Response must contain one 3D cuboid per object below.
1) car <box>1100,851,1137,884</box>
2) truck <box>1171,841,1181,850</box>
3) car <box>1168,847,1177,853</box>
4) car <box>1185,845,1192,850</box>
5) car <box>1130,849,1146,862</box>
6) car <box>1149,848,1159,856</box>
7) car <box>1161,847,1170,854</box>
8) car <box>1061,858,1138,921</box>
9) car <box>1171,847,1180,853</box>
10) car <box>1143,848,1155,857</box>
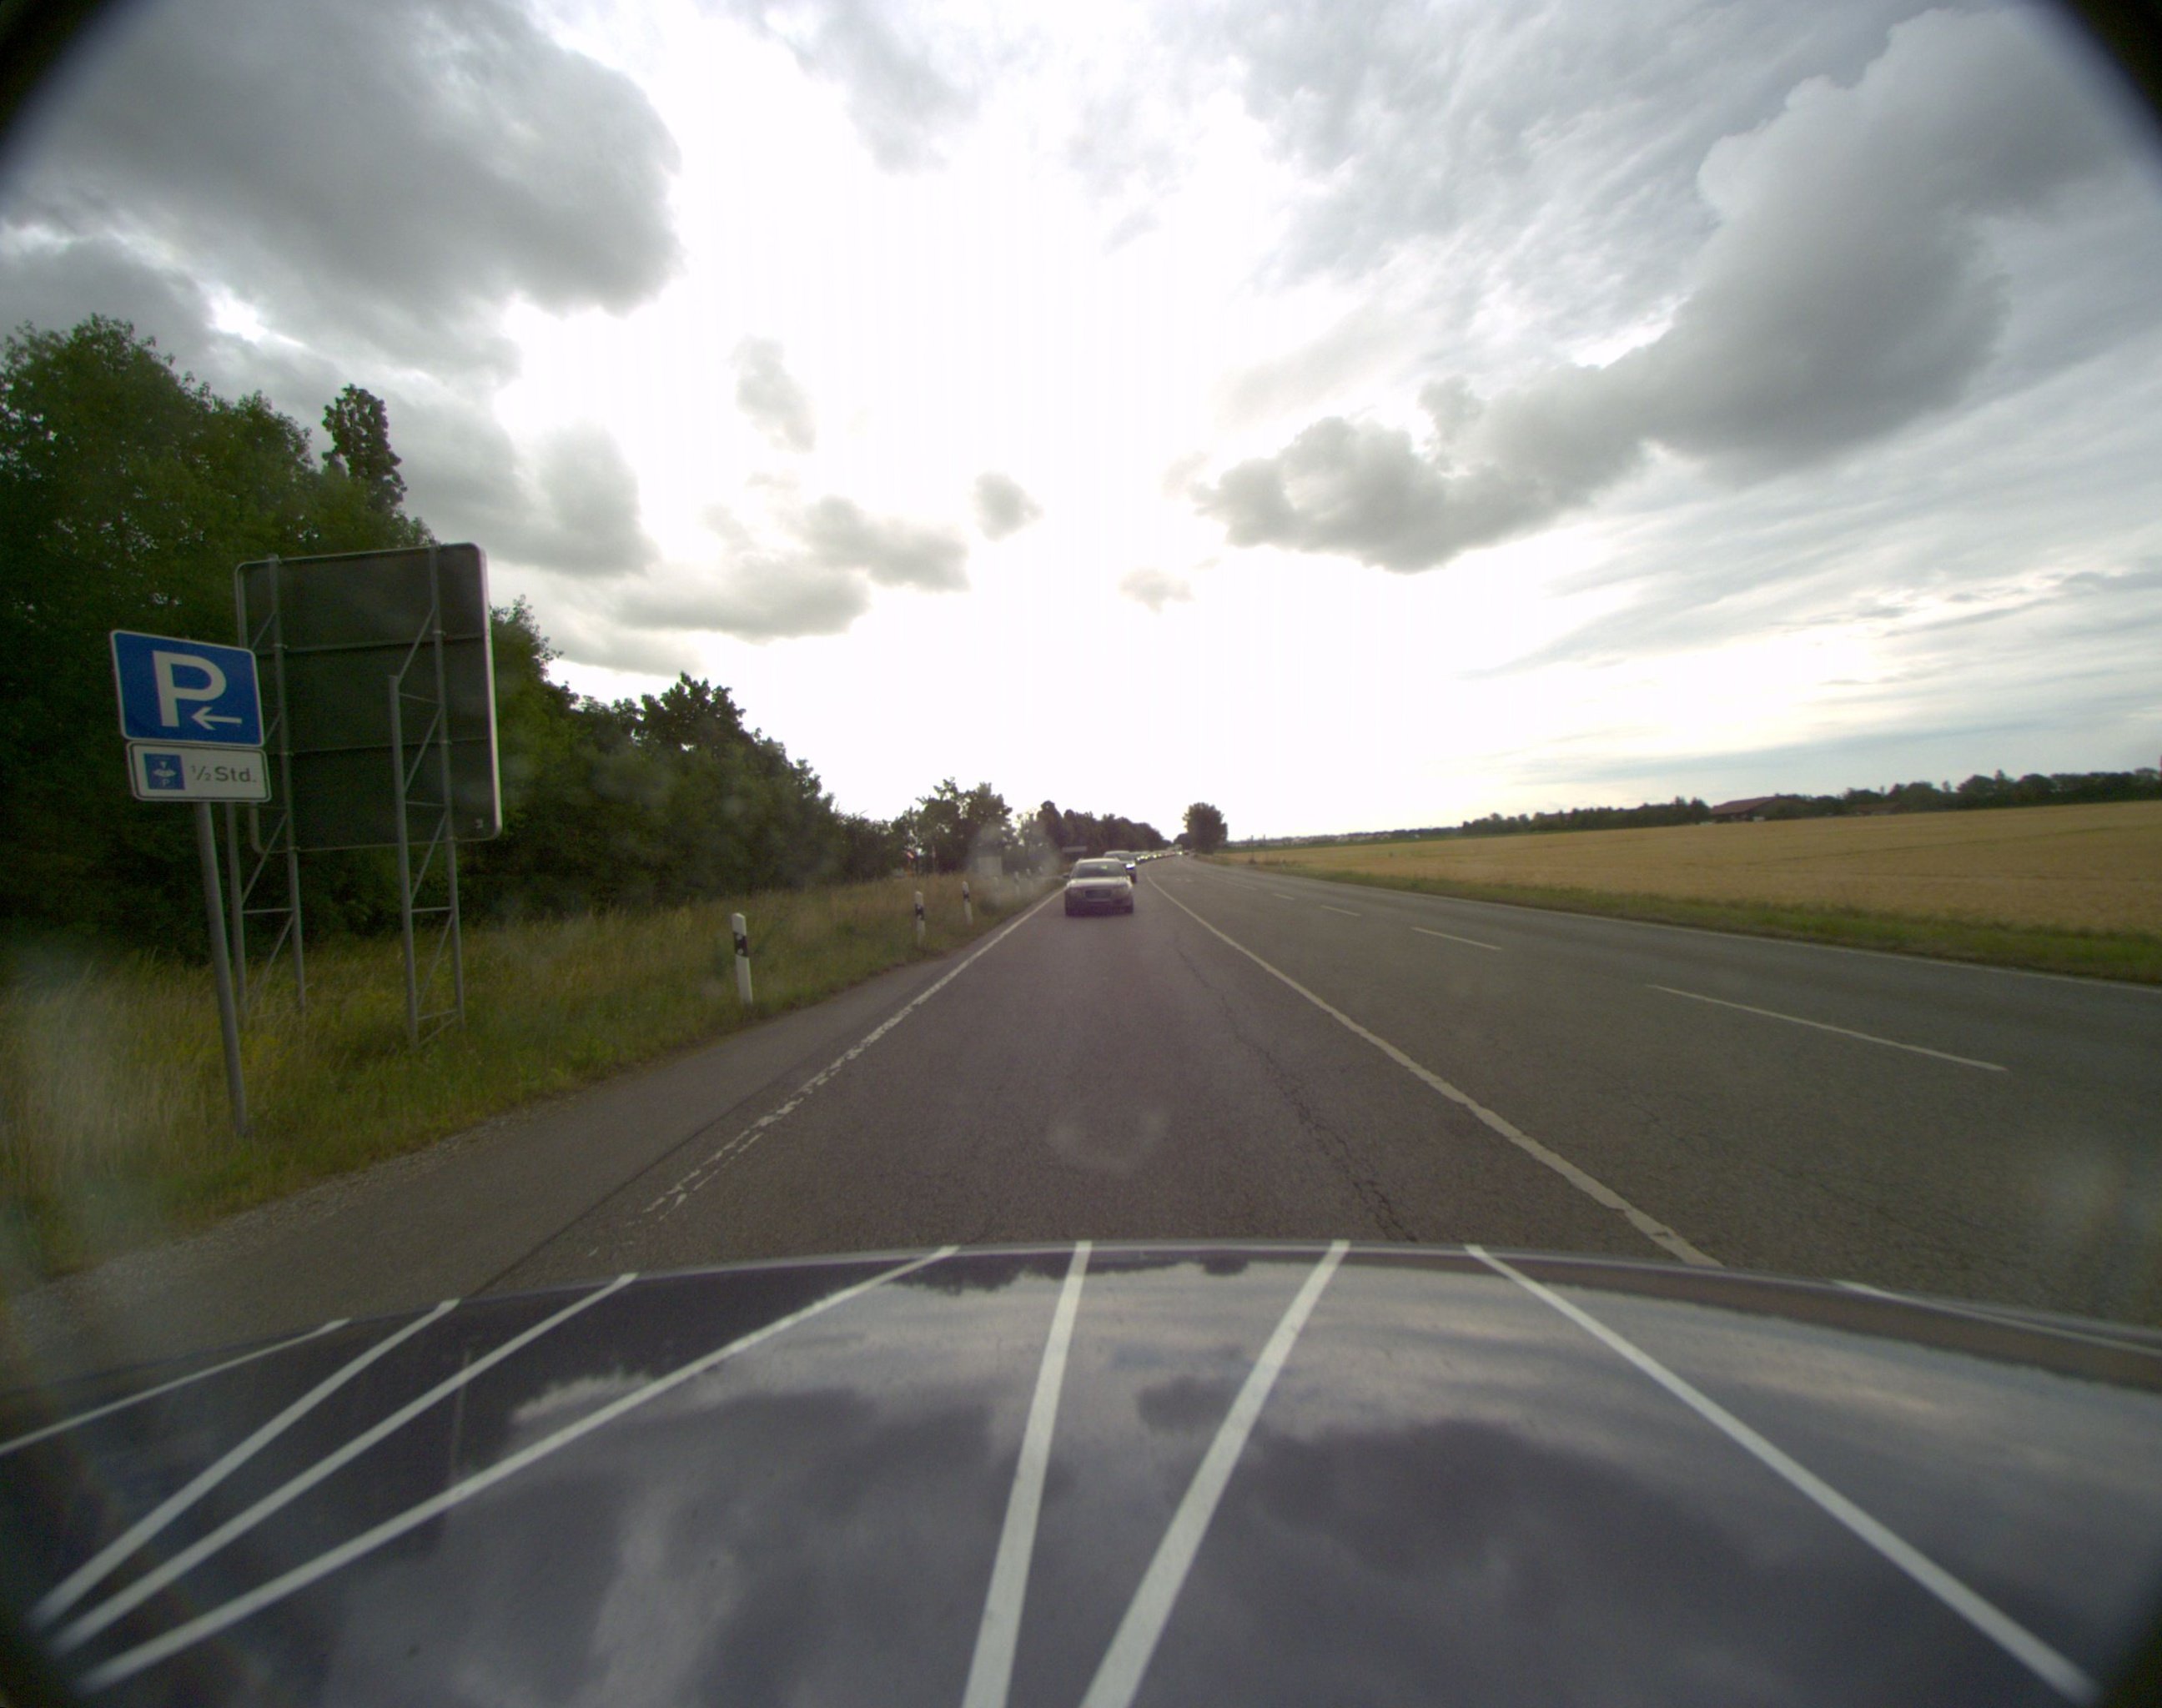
[{"bbox_3d":[2.021,0.660,40.552,1.793,1.573,4.368,-2,0,3],"label":"car"},{"bbox_3d":[29.186,-2.641,234.116,2.318,2.749,7.678,-3,0,12],"label":"truck"},{"bbox_3d":[24.206,-1.142,200.686,1.792,1.573,4.140,-2,0,13],"label":"car"},{"bbox_3d":[33.101,-1.931,234.423,1.829,1.402,4.428,-2,1,13],"label":"car"},{"bbox_3d":[7.442,0.197,99.367,1.793,1.573,4.369,-2,0,6],"label":"car"},{"bbox_3d":[14.571,-0.393,151.084,1.792,1.573,4.139,-2,0,9],"label":"car"},{"bbox_3d":[20.116,-0.889,180.761,1.792,1.573,4.140,-2,0,12],"label":"car"},{"bbox_3d":[0.537,0.864,20.527,1.793,1.415,4.368,-2,0,3],"label":"car"},{"bbox_3d":[25.979,-1.149,209.245,1.792,1.531,4.141,-2,0,14],"label":"car"},{"bbox_3d":[12.344,-0.319,138.142,1.792,1.573,4.139,-2,0,9],"label":"car"}]
